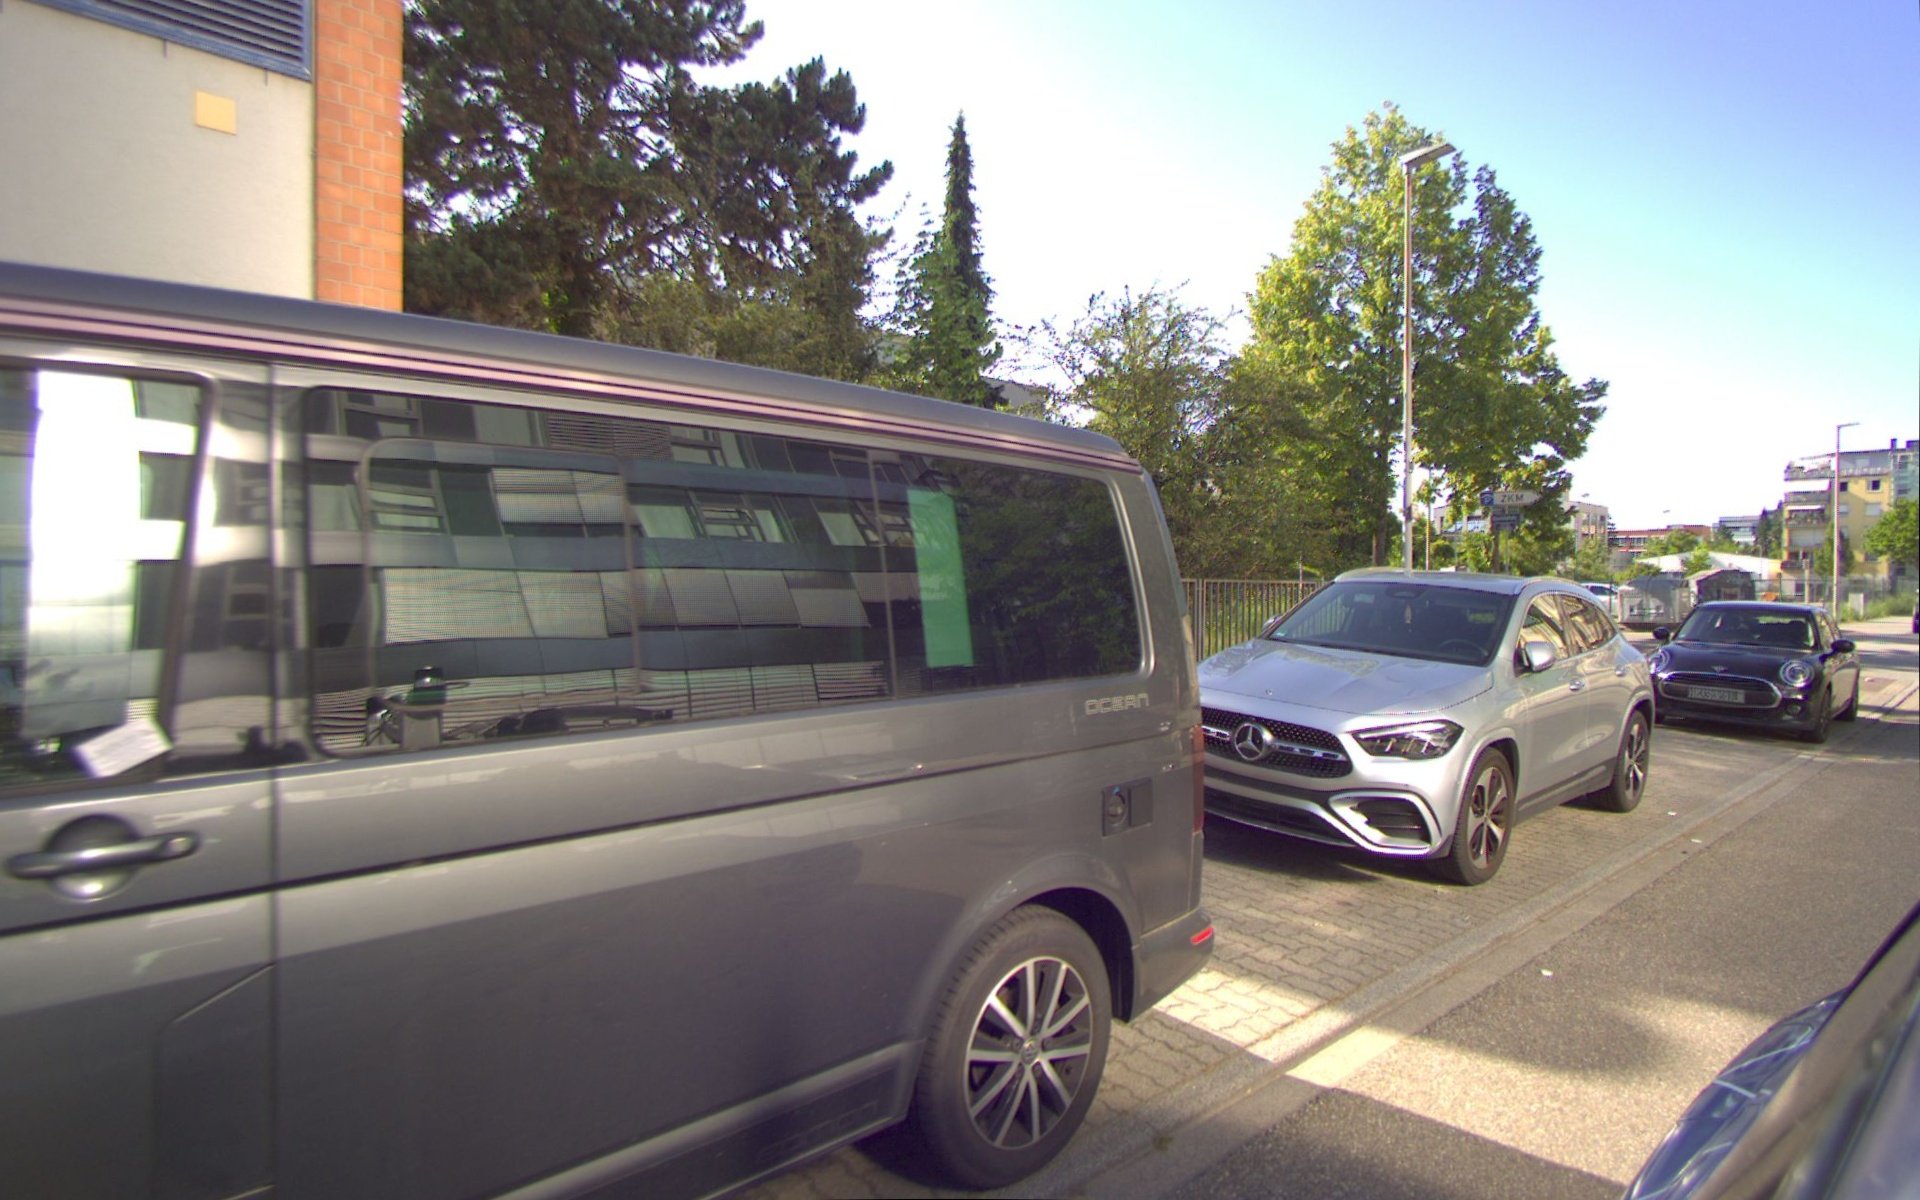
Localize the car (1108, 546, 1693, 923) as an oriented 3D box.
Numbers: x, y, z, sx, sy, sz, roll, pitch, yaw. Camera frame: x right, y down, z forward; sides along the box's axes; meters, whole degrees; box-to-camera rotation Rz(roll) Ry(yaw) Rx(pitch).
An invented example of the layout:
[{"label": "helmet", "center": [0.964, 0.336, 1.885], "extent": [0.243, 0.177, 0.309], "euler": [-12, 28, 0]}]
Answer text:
[{"label": "car", "center": [3.046, 0.530, 6.543], "extent": [4.219, 1.649, 1.829], "euler": [-1, 3, -41]}]

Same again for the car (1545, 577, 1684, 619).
[{"label": "car", "center": [26.884, -0.121, 41.716], "extent": [1.964, 1.630, 4.423], "euler": [0, 1, -38]}]

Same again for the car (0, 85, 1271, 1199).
[{"label": "car", "center": [-1.507, 0.379, 2.169], "extent": [4.742, 2.047, 1.947], "euler": [-1, 3, -42]}]

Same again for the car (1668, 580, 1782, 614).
[{"label": "car", "center": [38.394, -0.189, 50.876], "extent": [1.863, 1.579, 4.240], "euler": [0, 1, -38]}]

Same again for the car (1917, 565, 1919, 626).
[{"label": "car", "center": [29.163, -0.112, 29.008], "extent": [4.030, 1.716, 1.998], "euler": [-1, 2, -40]}]

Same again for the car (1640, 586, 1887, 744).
[{"label": "car", "center": [9.535, 0.621, 11.922], "extent": [3.700, 1.490, 1.655], "euler": [-1, 3, -42]}]
